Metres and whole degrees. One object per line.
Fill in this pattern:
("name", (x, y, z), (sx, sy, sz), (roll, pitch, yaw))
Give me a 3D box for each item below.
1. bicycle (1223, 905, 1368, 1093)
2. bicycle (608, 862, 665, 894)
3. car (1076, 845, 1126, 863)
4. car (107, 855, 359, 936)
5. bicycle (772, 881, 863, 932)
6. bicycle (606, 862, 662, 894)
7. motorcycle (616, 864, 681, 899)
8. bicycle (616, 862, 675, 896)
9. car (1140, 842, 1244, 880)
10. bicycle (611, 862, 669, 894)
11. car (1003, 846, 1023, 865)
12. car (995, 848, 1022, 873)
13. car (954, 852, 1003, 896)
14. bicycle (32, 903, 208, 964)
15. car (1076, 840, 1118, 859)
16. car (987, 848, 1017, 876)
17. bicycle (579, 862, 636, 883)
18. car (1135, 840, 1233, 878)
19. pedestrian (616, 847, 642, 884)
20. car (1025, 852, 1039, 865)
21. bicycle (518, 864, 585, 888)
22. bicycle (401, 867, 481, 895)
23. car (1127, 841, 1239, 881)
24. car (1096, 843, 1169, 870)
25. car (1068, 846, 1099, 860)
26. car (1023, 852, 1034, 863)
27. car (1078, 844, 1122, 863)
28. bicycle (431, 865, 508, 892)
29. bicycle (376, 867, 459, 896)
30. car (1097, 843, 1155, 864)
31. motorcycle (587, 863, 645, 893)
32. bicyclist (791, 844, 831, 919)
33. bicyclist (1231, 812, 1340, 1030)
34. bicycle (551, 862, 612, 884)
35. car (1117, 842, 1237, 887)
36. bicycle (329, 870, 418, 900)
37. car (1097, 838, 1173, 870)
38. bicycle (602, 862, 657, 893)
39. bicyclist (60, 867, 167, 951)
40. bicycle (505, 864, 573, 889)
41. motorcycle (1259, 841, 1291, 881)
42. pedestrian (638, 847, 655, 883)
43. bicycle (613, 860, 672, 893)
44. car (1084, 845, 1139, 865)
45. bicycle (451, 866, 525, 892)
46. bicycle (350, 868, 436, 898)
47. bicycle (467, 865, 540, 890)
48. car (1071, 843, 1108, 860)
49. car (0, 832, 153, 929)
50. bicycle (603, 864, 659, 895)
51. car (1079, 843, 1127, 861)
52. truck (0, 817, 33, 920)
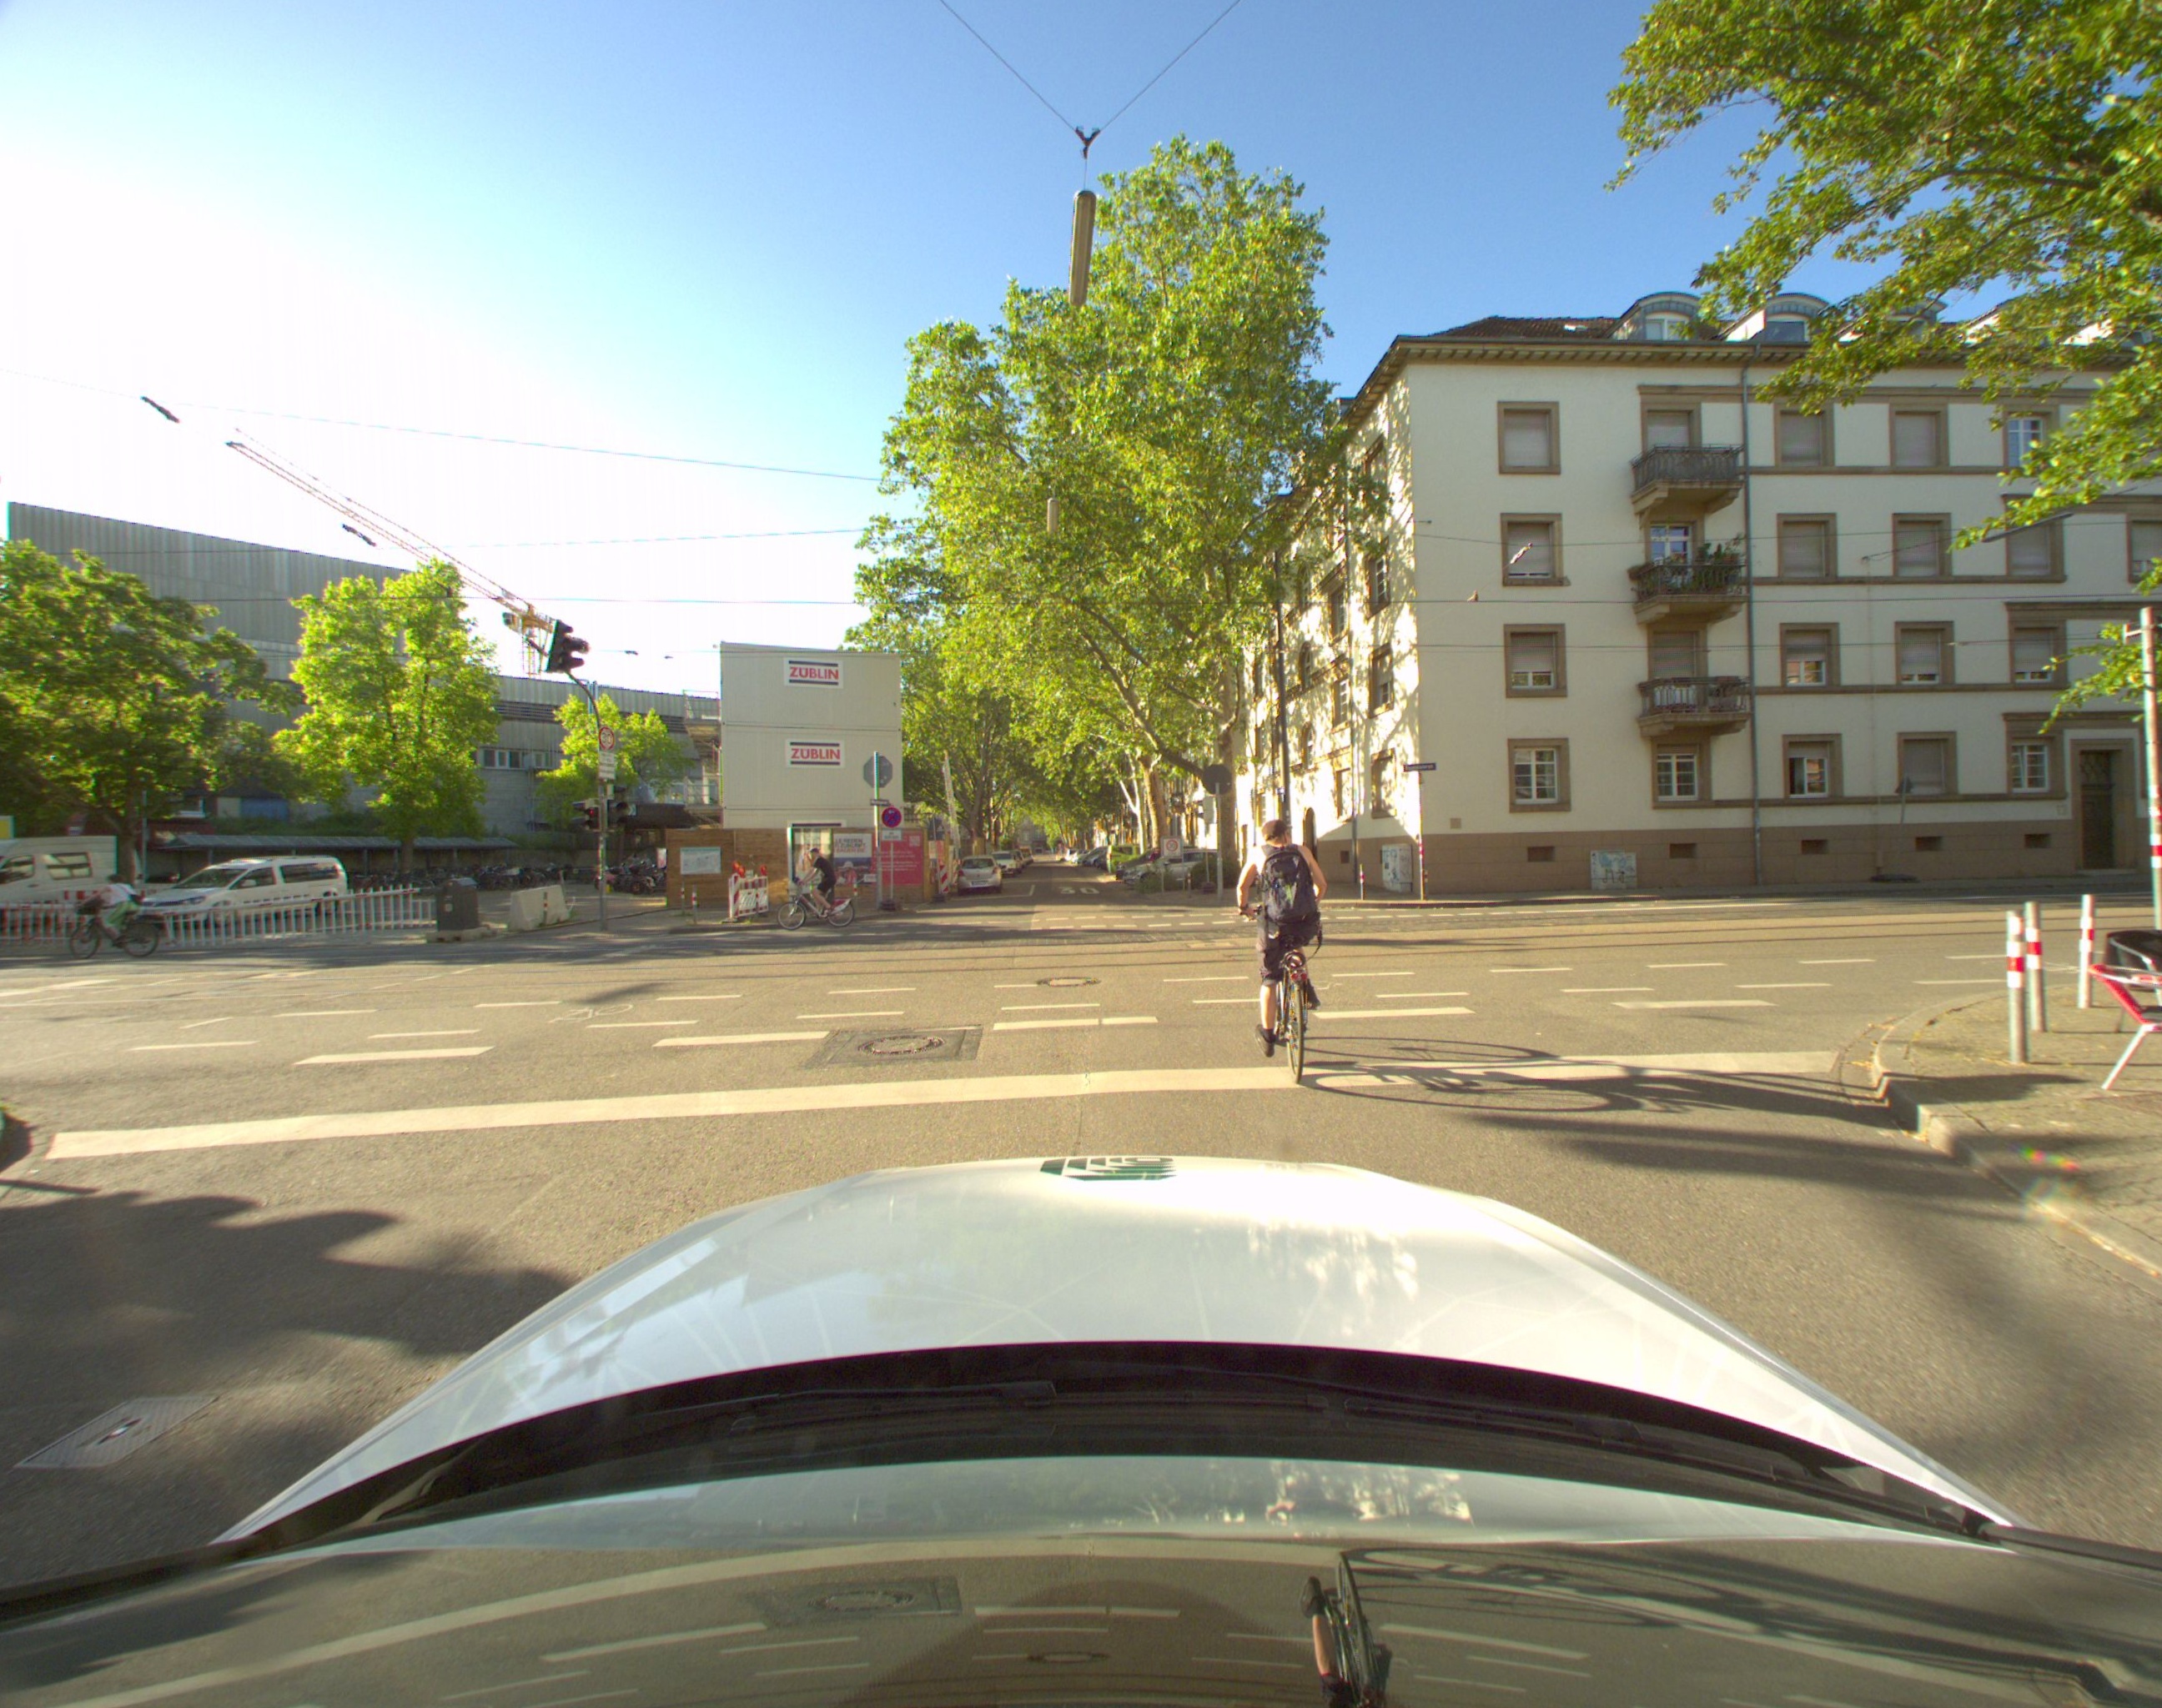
("bicycle", (1.477, 0.942, 5.941), (0.686, 1.016, 1.910), (0, 0, 4))
("bicycle", (-19.189, 1.020, 35.214), (2.061, 1.257, 0.537), (-2, 1, -41))
("car", (1.830, -0.002, 75.936), (4.453, 1.571, 1.726), (-2, 0, -4))
("car", (-24.663, 1.103, 24.052), (1.996, 1.892, 4.951), (-1, 3, 2))
("bicycle", (-6.074, 1.189, 18.775), (1.922, 1.018, 0.677), (-2, 0, -21))
("bicycle", (-19.569, 1.025, 35.662), (2.061, 1.257, 0.537), (-2, 1, -41))
("motorcycle", (-17.352, 1.073, 32.706), (2.224, 1.257, 0.537), (-2, 1, -41))
("bicycle", (-17.949, 1.017, 33.617), (2.061, 1.257, 0.466), (-2, 1, -41))
("car", (5.025, 0.286, 37.151), (4.453, 1.571, 1.726), (-2, 0, -4))
("bicycle", (-18.573, 1.003, 34.361), (2.061, 1.257, 0.466), (-2, 1, -41))
("car", (-5.925, 0.143, 71.078), (1.662, 1.562, 4.609), (-2, 0, -4))
("car", (-4.833, 0.411, 54.383), (1.662, 1.562, 4.512), (-2, 0, -4))
("car", (-4.035, 0.748, 32.574), (1.641, 1.494, 3.994), (-4, 1, -4))
("bicycle", (-19.685, 1.614, 16.728), (2.417, 1.093, 0.895), (-2, -1, -3))
("car", (1.708, -0.471, 88.345), (4.453, 1.898, 1.726), (-2, 0, -4))
("car", (-4.698, 0.460, 48.680), (1.662, 1.562, 3.994), (-2, 0, -4))
("bicycle", (-28.856, 1.105, 49.638), (3.063, 1.147, 0.823), (-2, 1, 5))
("car", (4.917, 0.212, 39.233), (4.453, 1.671, 1.726), (-2, 0, -4))
("pedestrian", (-25.826, 0.650, 46.544), (0.796, 2.013, 0.941), (-1, 1, 7))
("car", (-6.074, 0.557, 100.885), (1.662, 1.562, 4.212), (-2, 0, -4))
("bicycle", (-28.052, 1.165, 43.173), (3.063, 1.147, 0.823), (-2, 1, 5))
("bicycle", (-28.738, 1.207, 36.584), (3.063, 1.147, 0.823), (-2, 1, 5))
("car", (4.298, 0.280, 34.736), (4.453, 1.500, 1.726), (-2, 0, -4))
("car", (3.288, 0.150, 52.220), (4.453, 1.571, 1.726), (-2, 0, -4))
("car", (0.314, -0.109, 120.423), (4.453, 1.898, 1.726), (-2, 0, -4))
("car", (-8.464, 0.556, 131.682), (1.662, 1.562, 4.212), (-2, 0, -4))
("car", (2.028, -0.059, 85.595), (4.453, 1.898, 1.726), (-2, 0, -4))
("bicycle", (-28.631, 1.148, 38.149), (3.063, 1.147, 0.823), (-2, 1, 5))
("bicycle", (-28.911, 1.204, 35.517), (3.063, 1.147, 0.823), (-2, 1, 5))
("car", (3.599, -0.045, 65.588), (4.453, 1.571, 1.726), (-2, 0, -4))
("motorcycle", (-21.234, 1.075, 37.227), (2.224, 1.257, 0.537), (-2, 1, -41))
("bicyclist", (-6.212, 0.609, 18.726), (0.812, 1.658, 0.678), (-2, 0, -21))
("bicyclist", (1.487, 0.465, 6.015), (0.673, 1.513, 0.669), (0, 0, 4))
("bicycle", (-28.627, 1.088, 46.699), (3.063, 1.147, 0.823), (-2, 1, 5))
("car", (3.745, 0.390, 32.245), (4.453, 1.571, 1.726), (-2, 0, -4))
("bicycle", (-28.987, 1.267, 33.373), (3.063, 1.147, 0.823), (-2, 1, 5))
("car", (3.285, -0.008, 50.202), (4.454, 1.836, 1.725), (-2, 0, -5))
("bicycle", (-20.284, 1.042, 36.606), (2.061, 1.257, 0.537), (-2, 1, -41))
("bicyclist", (-19.839, 1.107, 16.730), (1.094, 1.640, 0.895), (-2, -1, -3))
("bicycle", (-28.097, 1.161, 42.237), (3.063, 1.147, 0.823), (-2, 1, 5))
("motorcycle", (6.726, 0.238, 28.265), (0.513, 1.332, 1.760), (-2, 1, -5))
("pedestrian", (-24.783, 0.638, 46.450), (0.805, 2.013, 1.022), (-2, 1, -27))
("bicycle", (-18.270, 0.939, 33.966), (2.061, 1.257, 0.466), (-2, 1, -41))
("car", (2.587, 0.073, 68.734), (4.453, 1.571, 1.726), (-2, 0, -4))
("bicycle", (-28.537, 1.194, 39.184), (3.063, 1.147, 0.823), (-2, 1, 5))
("bicycle", (-29.010, 1.200, 34.368), (3.063, 1.147, 0.823), (-2, 1, 5))
("bicycle", (-28.402, 1.155, 40.072), (3.063, 1.147, 0.823), (-2, 1, 5))
("car", (1.050, -0.300, 101.131), (4.453, 1.898, 1.726), (-2, 0, -4))
("car", (-30.761, 0.742, 23.481), (1.991, 2.530, 5.372), (-2, 4, -5))
("bicycle", (-19.951, 1.130, 36.118), (2.061, 1.257, 0.537), (-2, 1, -41))
("car", (2.098, -0.184, 78.273), (4.453, 1.571, 1.726), (-2, 0, -4))
("truck", (-36.388, 0.601, 23.770), (2.377, 3.347, 7.115), (-1, 2, -2))
